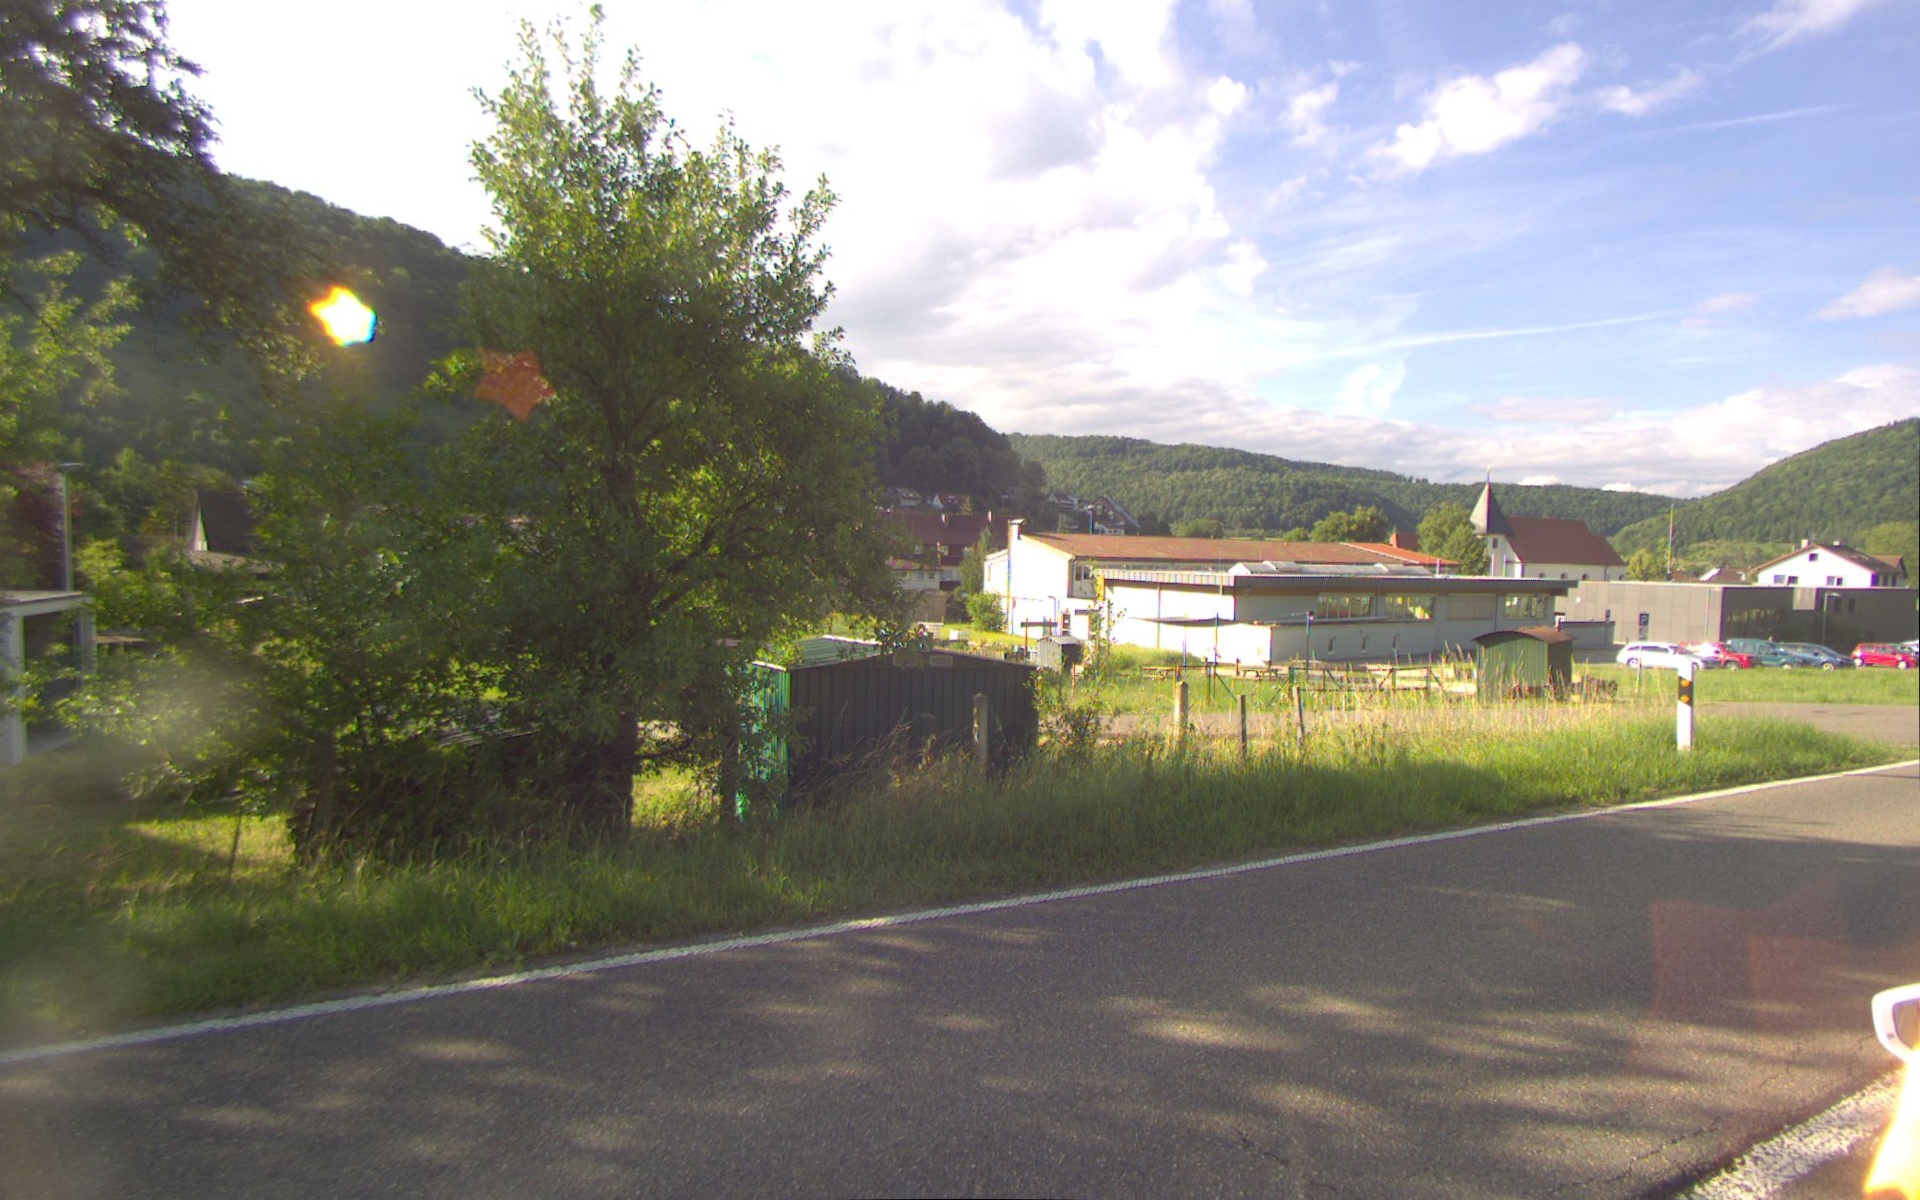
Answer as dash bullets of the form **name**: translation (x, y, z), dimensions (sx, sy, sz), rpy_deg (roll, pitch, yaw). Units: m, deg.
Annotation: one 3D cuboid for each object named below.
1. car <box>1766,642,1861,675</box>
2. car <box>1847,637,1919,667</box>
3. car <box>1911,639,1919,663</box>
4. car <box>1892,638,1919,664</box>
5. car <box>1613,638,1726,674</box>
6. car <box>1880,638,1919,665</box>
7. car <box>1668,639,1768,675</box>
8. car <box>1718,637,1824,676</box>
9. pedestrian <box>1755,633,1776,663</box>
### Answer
- **car**: translation (51.350, 3.474, 60.513), dimensions (1.978, 1.733, 3.965), rpy_deg (2, 0, -32)
- **car**: translation (60.435, 3.362, 65.109), dimensions (1.978, 1.733, 3.965), rpy_deg (2, 0, -32)
- **car**: translation (70.165, 3.701, 70.960), dimensions (1.978, 1.733, 3.965), rpy_deg (2, 0, -32)
- **car**: translation (67.324, 3.603, 69.396), dimensions (1.978, 1.733, 3.965), rpy_deg (2, 0, -32)
- **car**: translation (39.102, 3.062, 55.479), dimensions (1.978, 1.733, 4.705), rpy_deg (2, 0, -32)
- **car**: translation (64.445, 3.499, 67.138), dimensions (1.978, 1.733, 3.965), rpy_deg (2, 0, -32)
- **car**: translation (42.204, 3.162, 56.007), dimensions (1.978, 1.733, 3.965), rpy_deg (2, 0, -32)
- **car**: translation (47.297, 3.268, 58.657), dimensions (1.978, 2.034, 4.382), rpy_deg (2, 0, -32)
- **pedestrian**: translation (55.739, 3.300, 69.535), dimensions (0.962, 2.040, 0.821), rpy_deg (2, 0, -30)
